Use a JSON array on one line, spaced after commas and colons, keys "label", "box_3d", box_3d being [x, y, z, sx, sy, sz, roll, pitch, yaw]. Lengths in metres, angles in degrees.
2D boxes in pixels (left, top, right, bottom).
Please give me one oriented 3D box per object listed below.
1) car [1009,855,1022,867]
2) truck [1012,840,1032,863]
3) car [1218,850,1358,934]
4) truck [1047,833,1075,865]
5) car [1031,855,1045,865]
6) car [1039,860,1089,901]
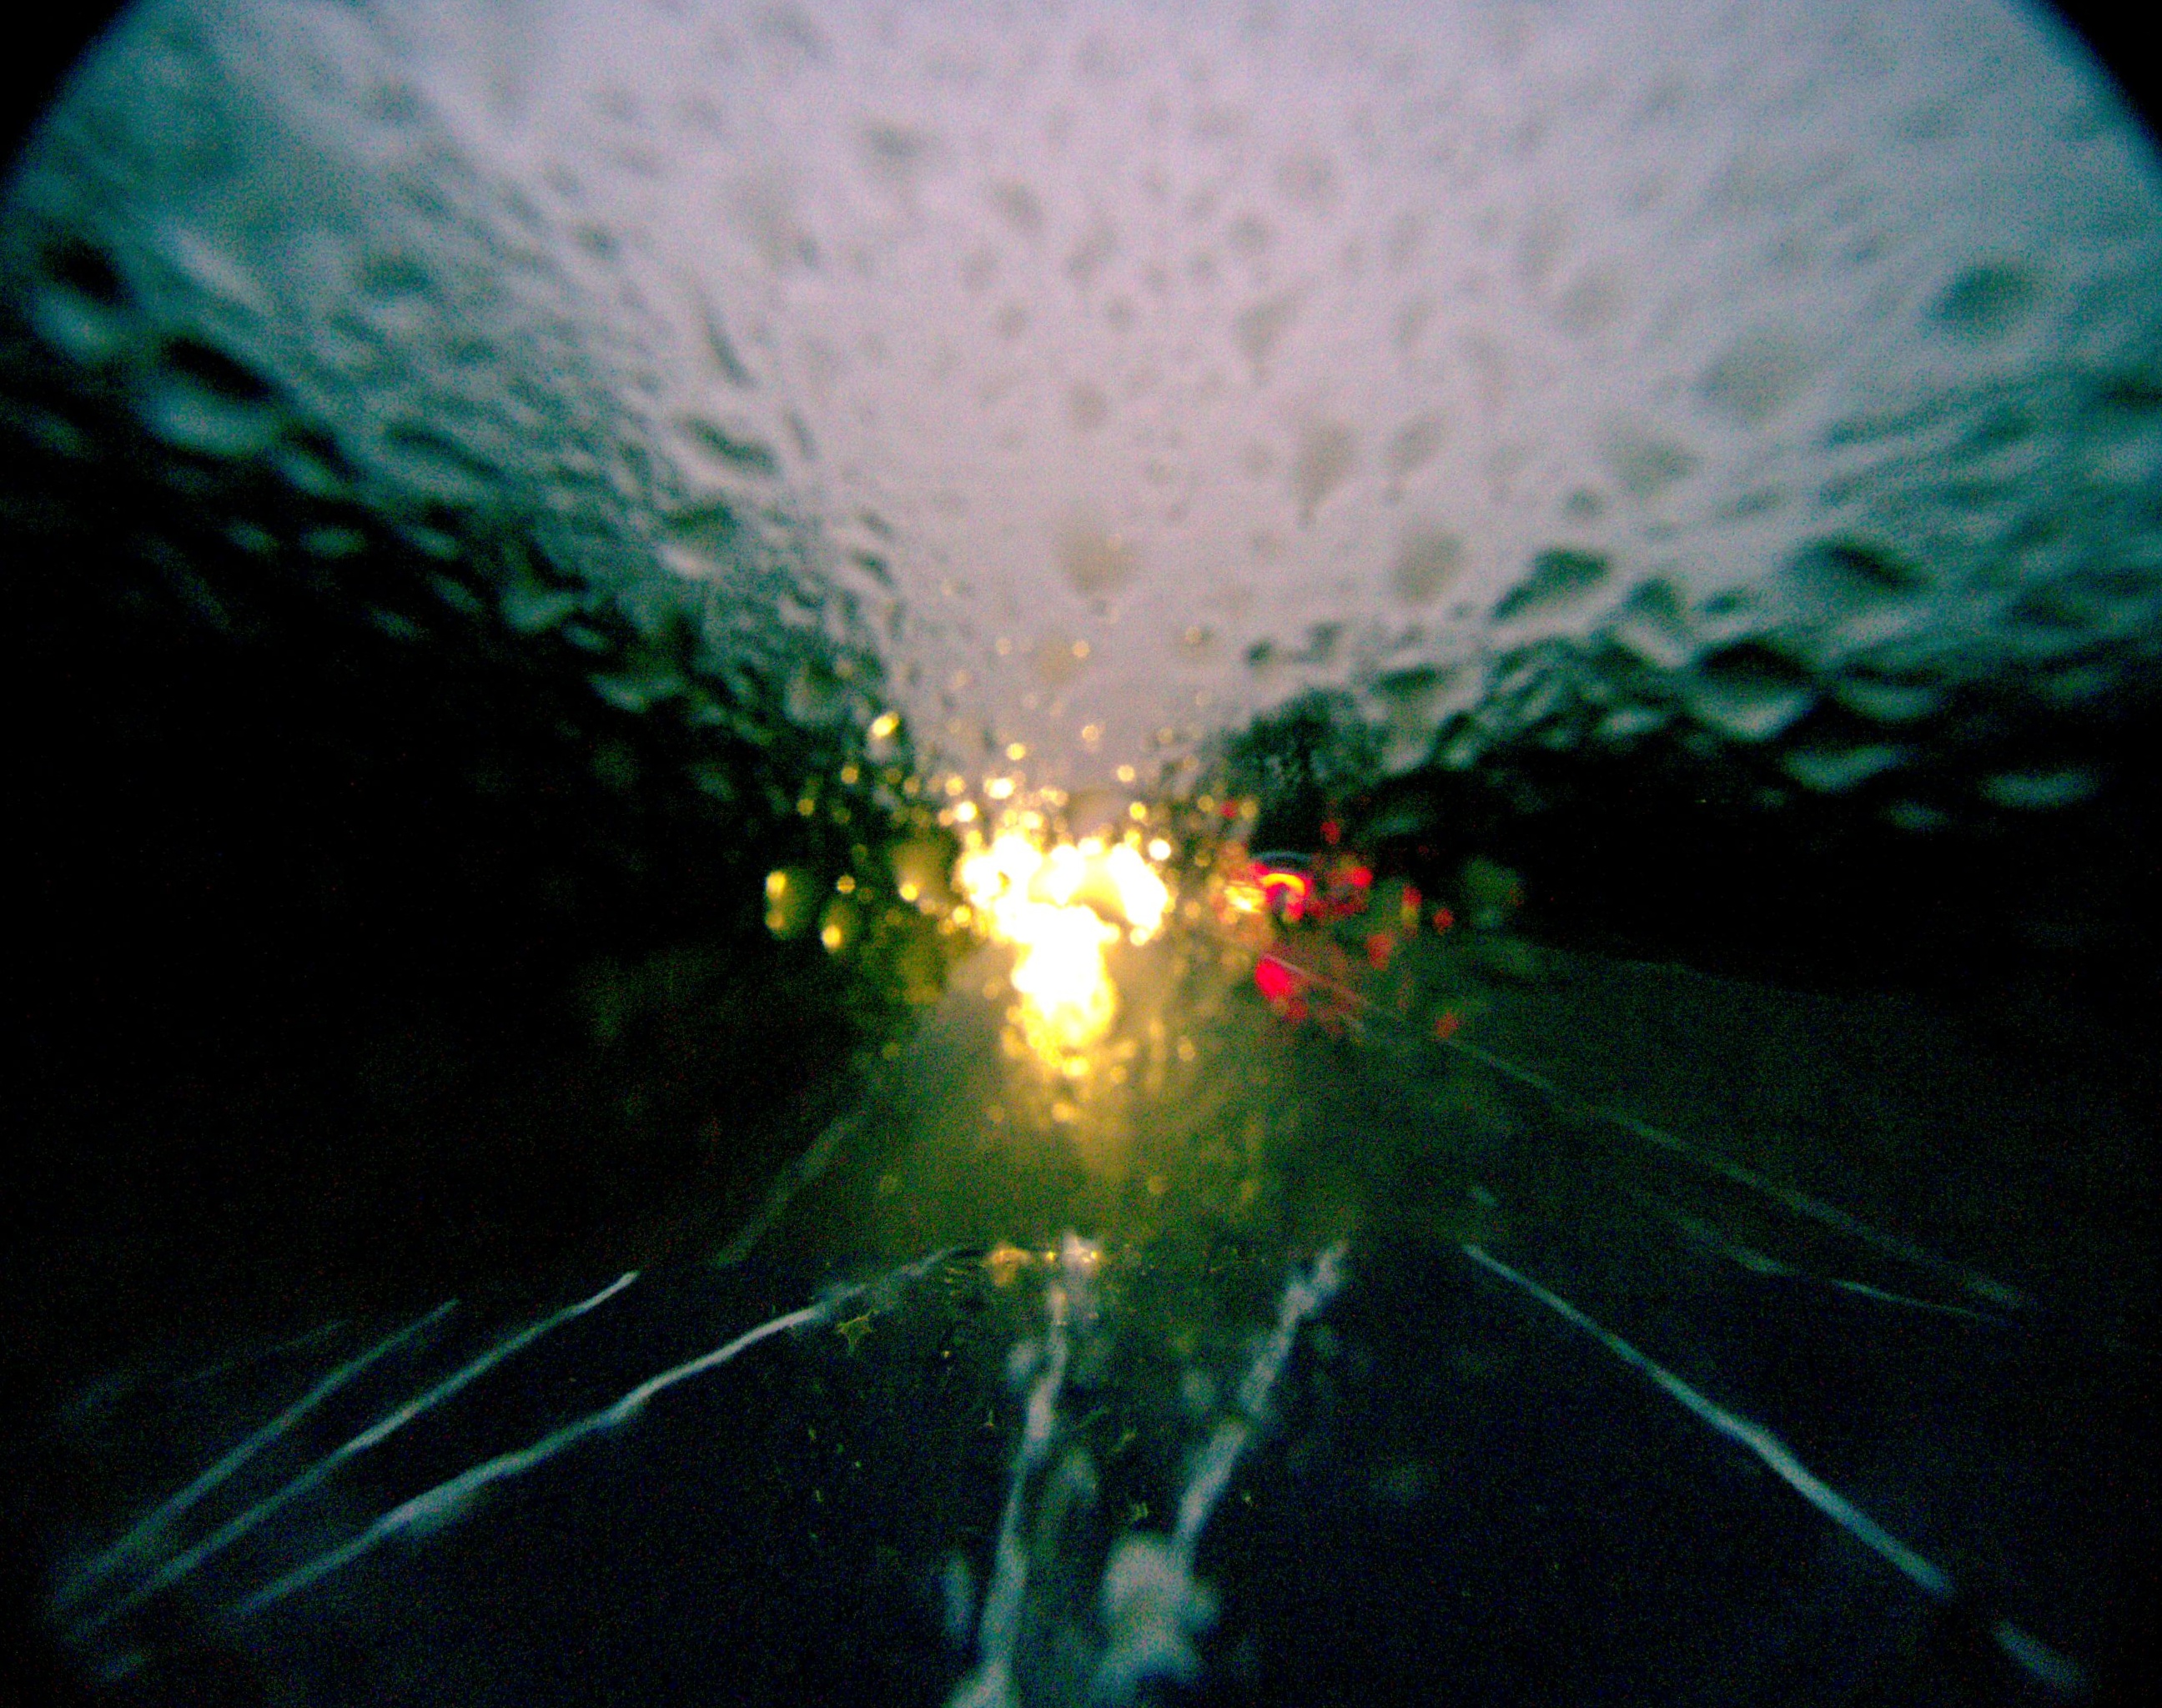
[{"label": "car", "box_3d": [-9.458, 1.010, 109.957, 1.702, 1.721, 3.998, -3, 0, -6]}, {"label": "truck", "box_3d": [-12.217, -0.448, 156.093, 3.358, 4.401, 11.160, -3, 0, -7]}, {"label": "car", "box_3d": [4.238, 0.717, 16.242, 1.769, 1.488, 4.102, -2, 0, -1]}, {"label": "truck", "box_3d": [-2.429, -0.603, 89.058, 2.656, 3.575, 9.837, -2, 1, -5]}, {"label": "car", "box_3d": [-6.966, 0.986, 123.219, 1.851, 1.452, 4.242, -2, 0, -8]}, {"label": "car", "box_3d": [-0.746, 1.019, 31.058, 1.850, 1.429, 4.243, -2, 0, -3]}]
